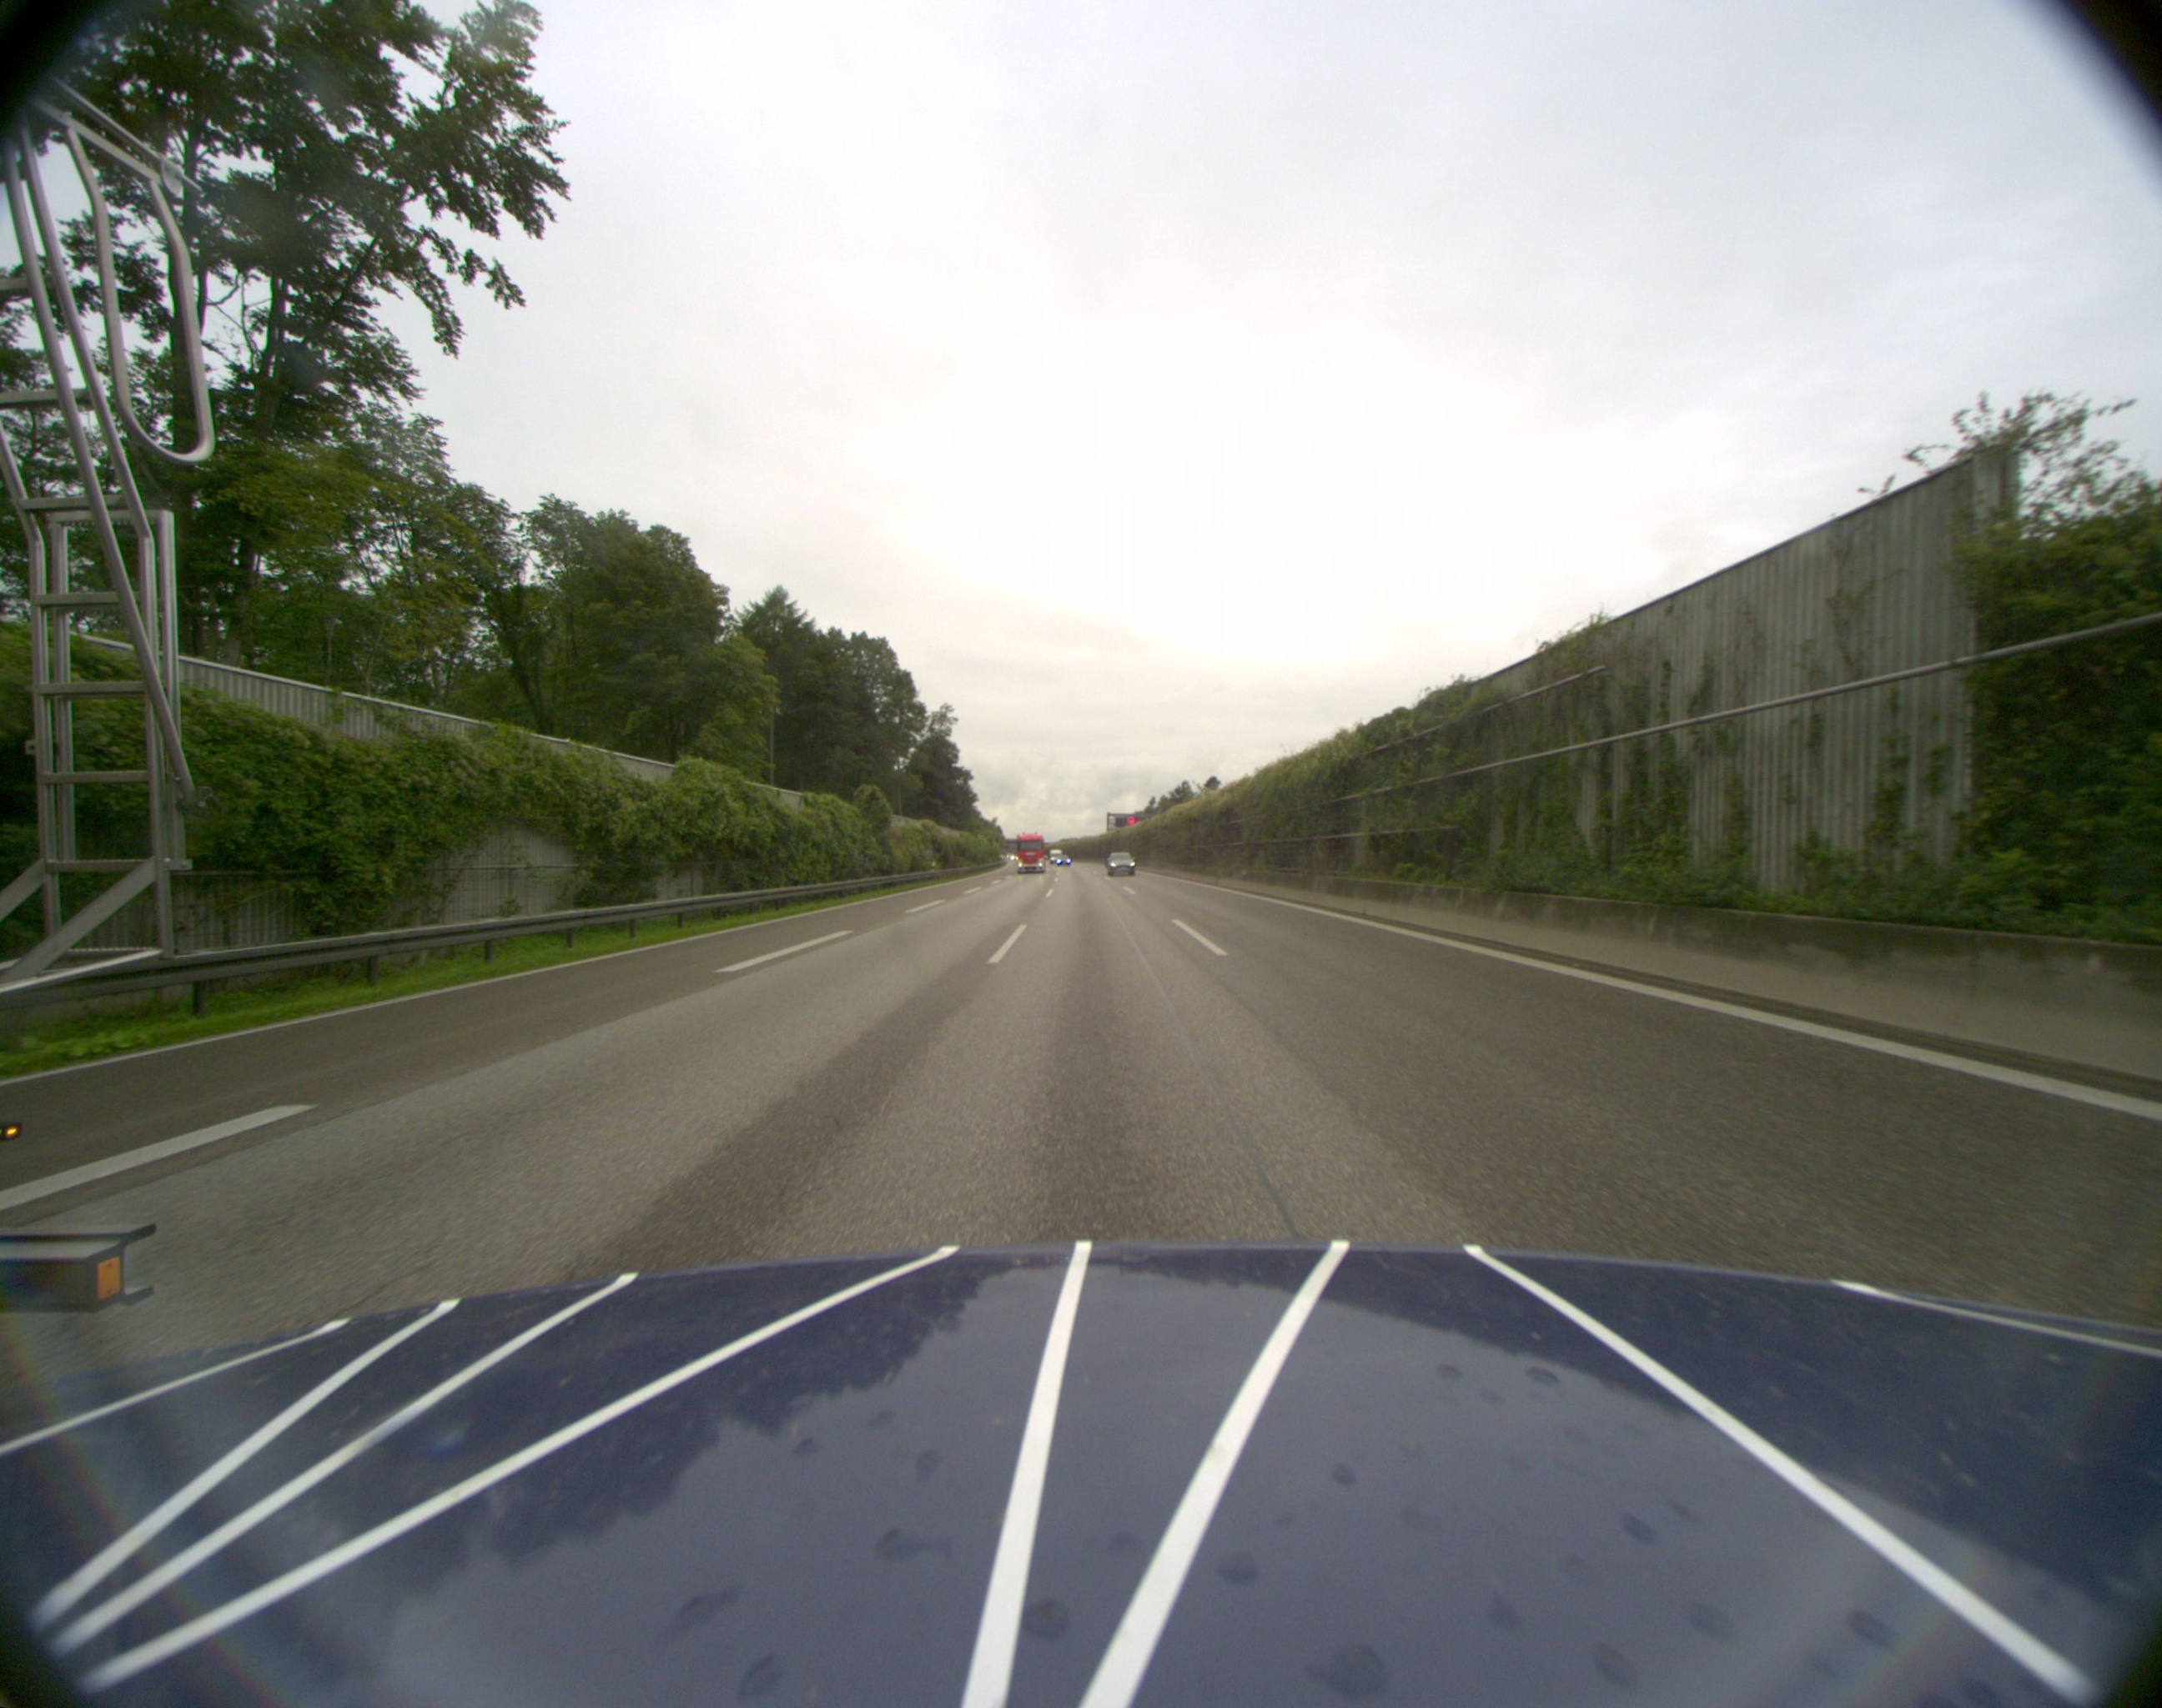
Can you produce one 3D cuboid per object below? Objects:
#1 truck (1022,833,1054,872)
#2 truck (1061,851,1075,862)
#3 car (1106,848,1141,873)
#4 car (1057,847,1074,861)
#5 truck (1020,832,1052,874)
[{"bbox_3d":[-4.248,-0.300,77.063,2.709,3.691,9.838,-1,2,0],"label":"truck"},{"bbox_3d":[-1.908,0.349,111.113,1.826,1.535,3.997,-2,2,-4],"label":"truck"},{"bbox_3d":[3.088,0.462,56.453,2.023,1.595,5.437,-3,1,-2],"label":"car"},{"bbox_3d":[-2.787,-0.028,135.129,2.769,2.227,6.544,-1,1,-2],"label":"car"},{"bbox_3d":[-4.224,-0.178,72.190,2.708,3.809,4.197,-1,2,1],"label":"truck"}]
